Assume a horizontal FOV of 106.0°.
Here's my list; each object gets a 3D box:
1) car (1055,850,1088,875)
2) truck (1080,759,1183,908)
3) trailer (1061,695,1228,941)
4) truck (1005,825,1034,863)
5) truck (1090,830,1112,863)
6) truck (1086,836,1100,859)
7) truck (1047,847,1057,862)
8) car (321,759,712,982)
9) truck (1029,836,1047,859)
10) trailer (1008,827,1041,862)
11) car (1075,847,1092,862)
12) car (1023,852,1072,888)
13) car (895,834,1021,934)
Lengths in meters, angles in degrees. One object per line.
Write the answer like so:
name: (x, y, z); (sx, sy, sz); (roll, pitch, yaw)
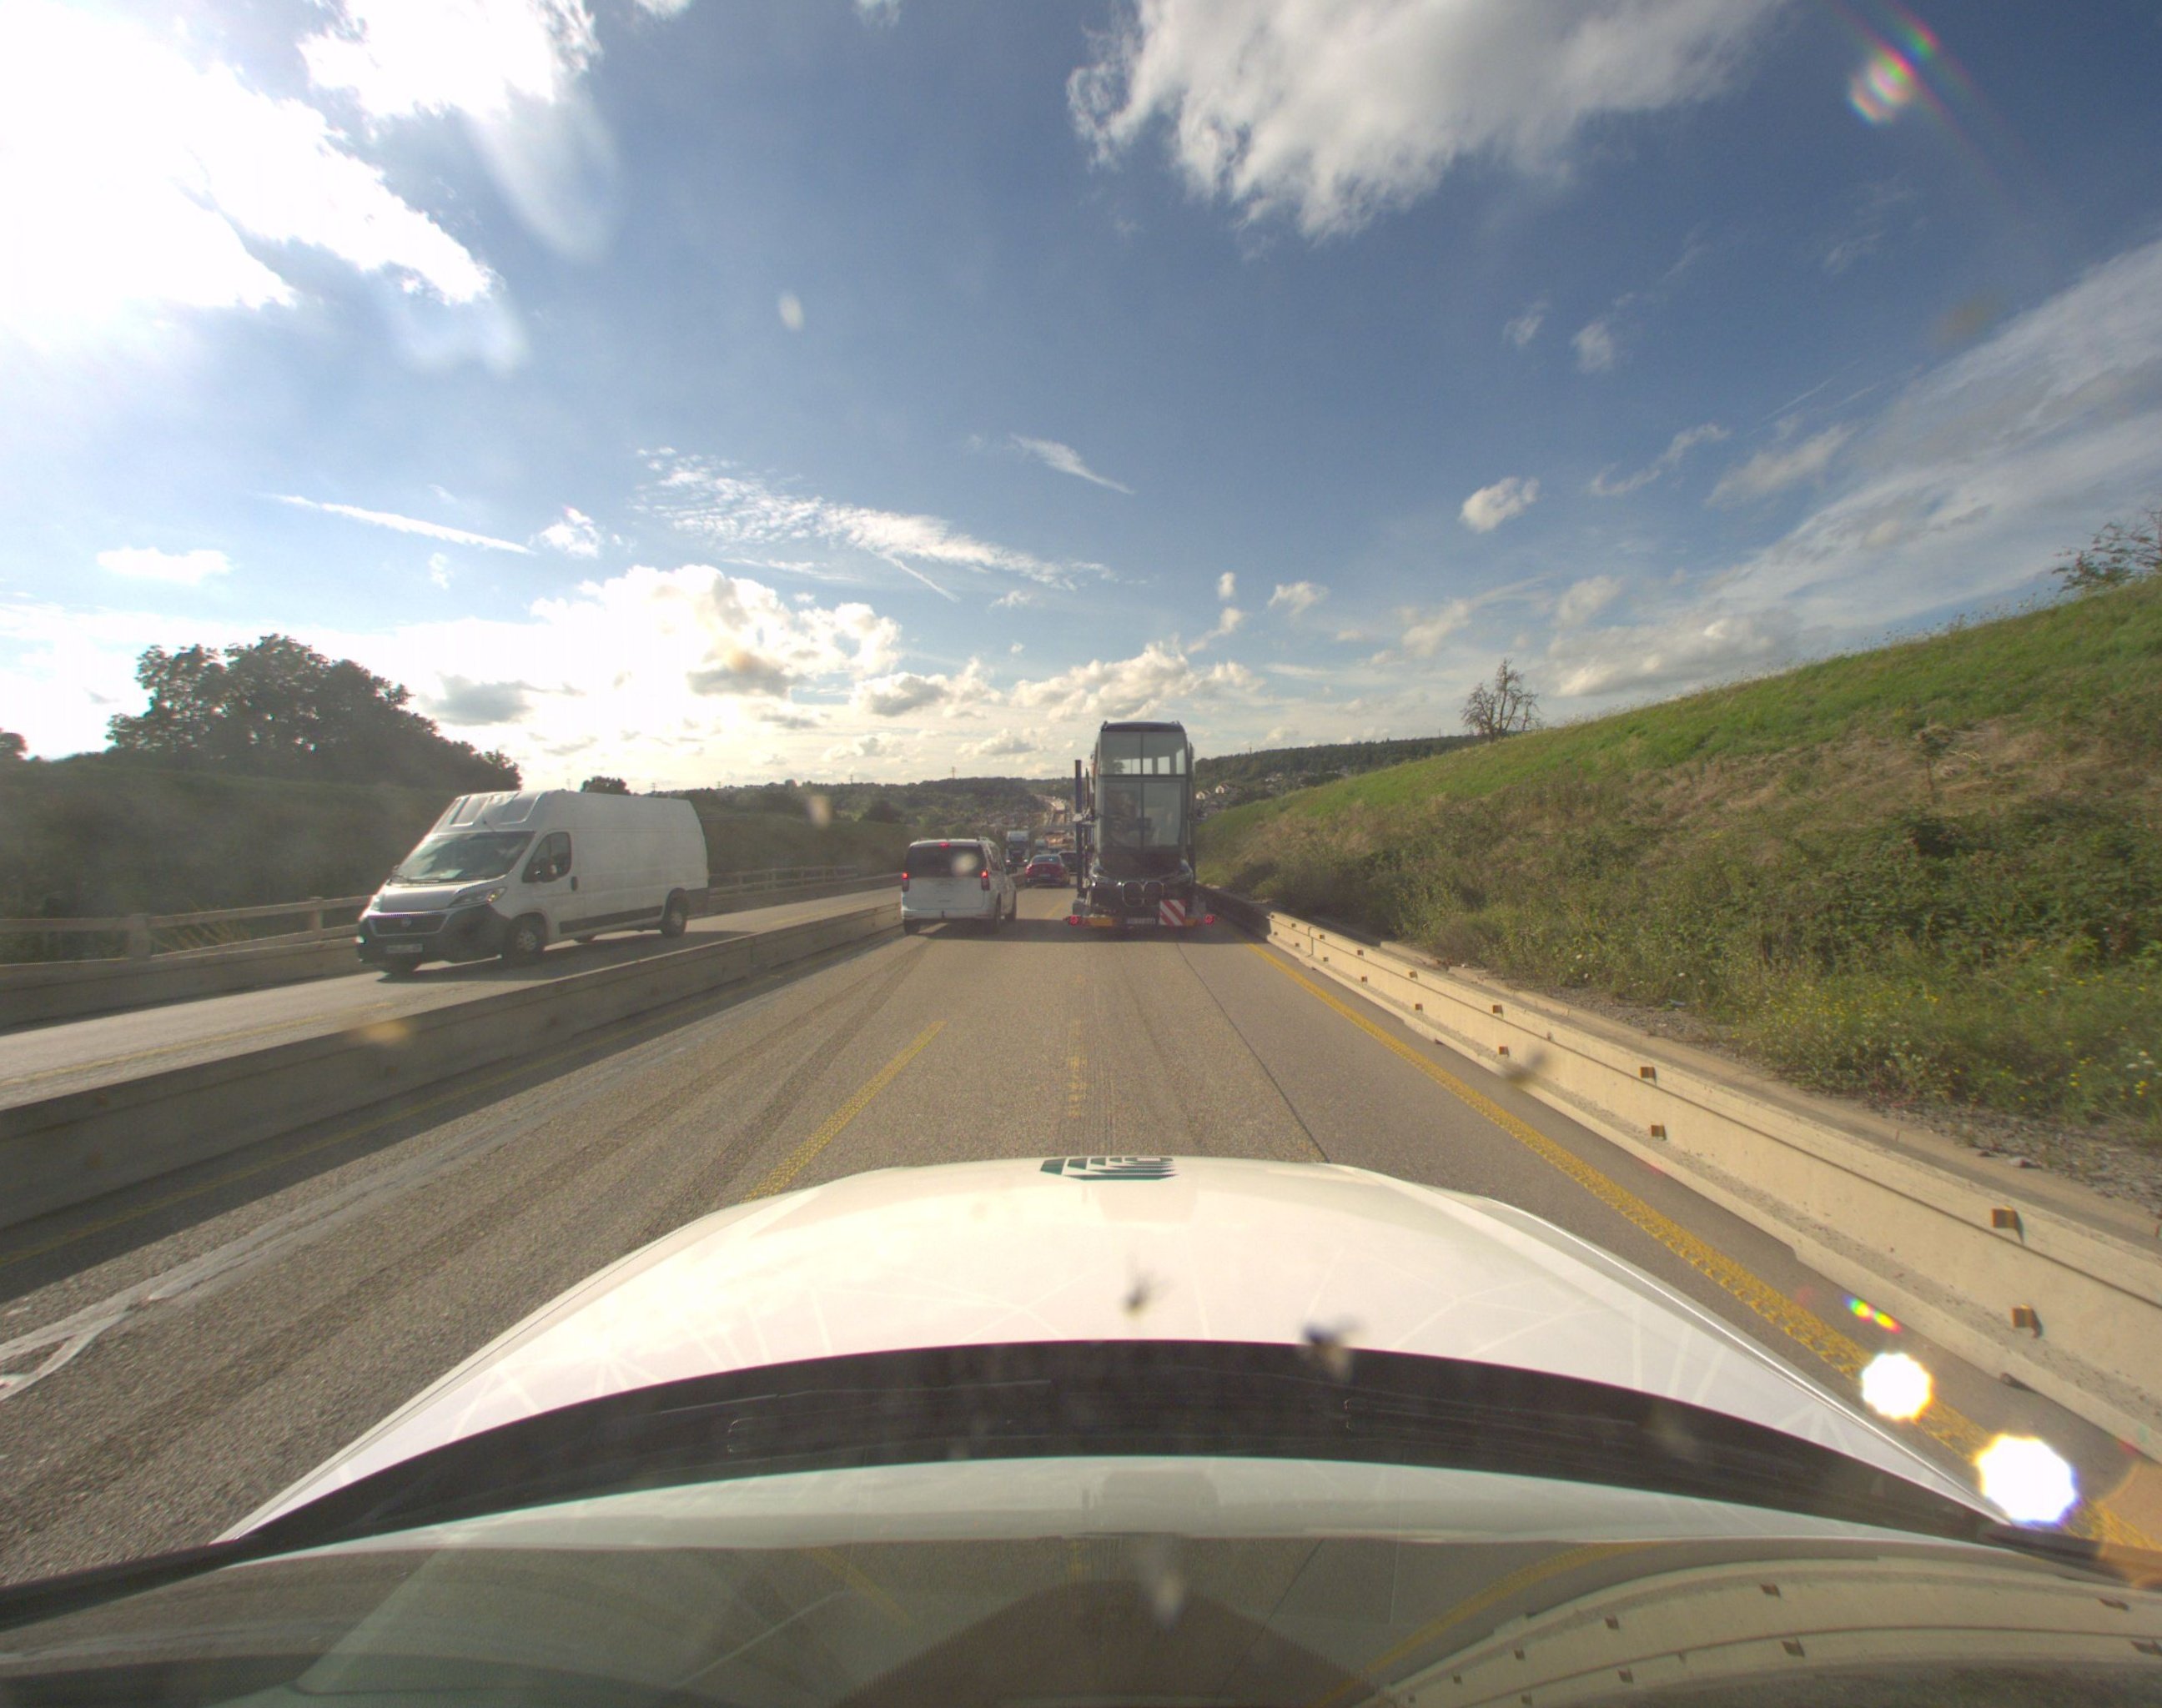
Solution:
car: (-0.611, 0.570, 55.568); (1.986, 1.625, 4.752); (0, 0, 2)
truck: (1.452, -0.559, 24.799); (2.668, 3.922, 6.030); (-1, 0, 2)
trailer: (1.253, -0.622, 19.284); (2.698, 4.029, 11.424); (-1, 0, 2)
truck: (-6.932, -1.140, 92.286); (2.605, 4.153, 5.783); (-1, 0, 1)
truck: (2.836, -1.108, 119.254); (2.855, 4.570, 11.655); (-1, 0, 0)
truck: (2.536, -1.337, 168.360); (2.853, 4.570, 11.661); (-1, 0, 1)
truck: (-8.488, 0.159, 241.879); (2.631, 4.099, 10.812); (-1, 0, -1)
car: (-8.934, 0.223, 13.941); (2.102, 2.835, 6.141); (-4, 0, 2)
truck: (-7.948, -1.214, 152.044); (2.630, 4.099, 10.817); (-1, 0, 0)
trailer: (-6.711, -1.124, 98.968); (2.605, 3.953, 13.878); (-1, 0, 1)
car: (0.254, 0.013, 92.558); (1.792, 1.596, 4.739); (-1, 0, -2)
car: (-1.469, 0.698, 37.298); (1.816, 1.492, 4.687); (0, 1, 2)
car: (-2.416, 0.527, 17.099); (1.816, 1.823, 4.458); (0, 1, 2)
